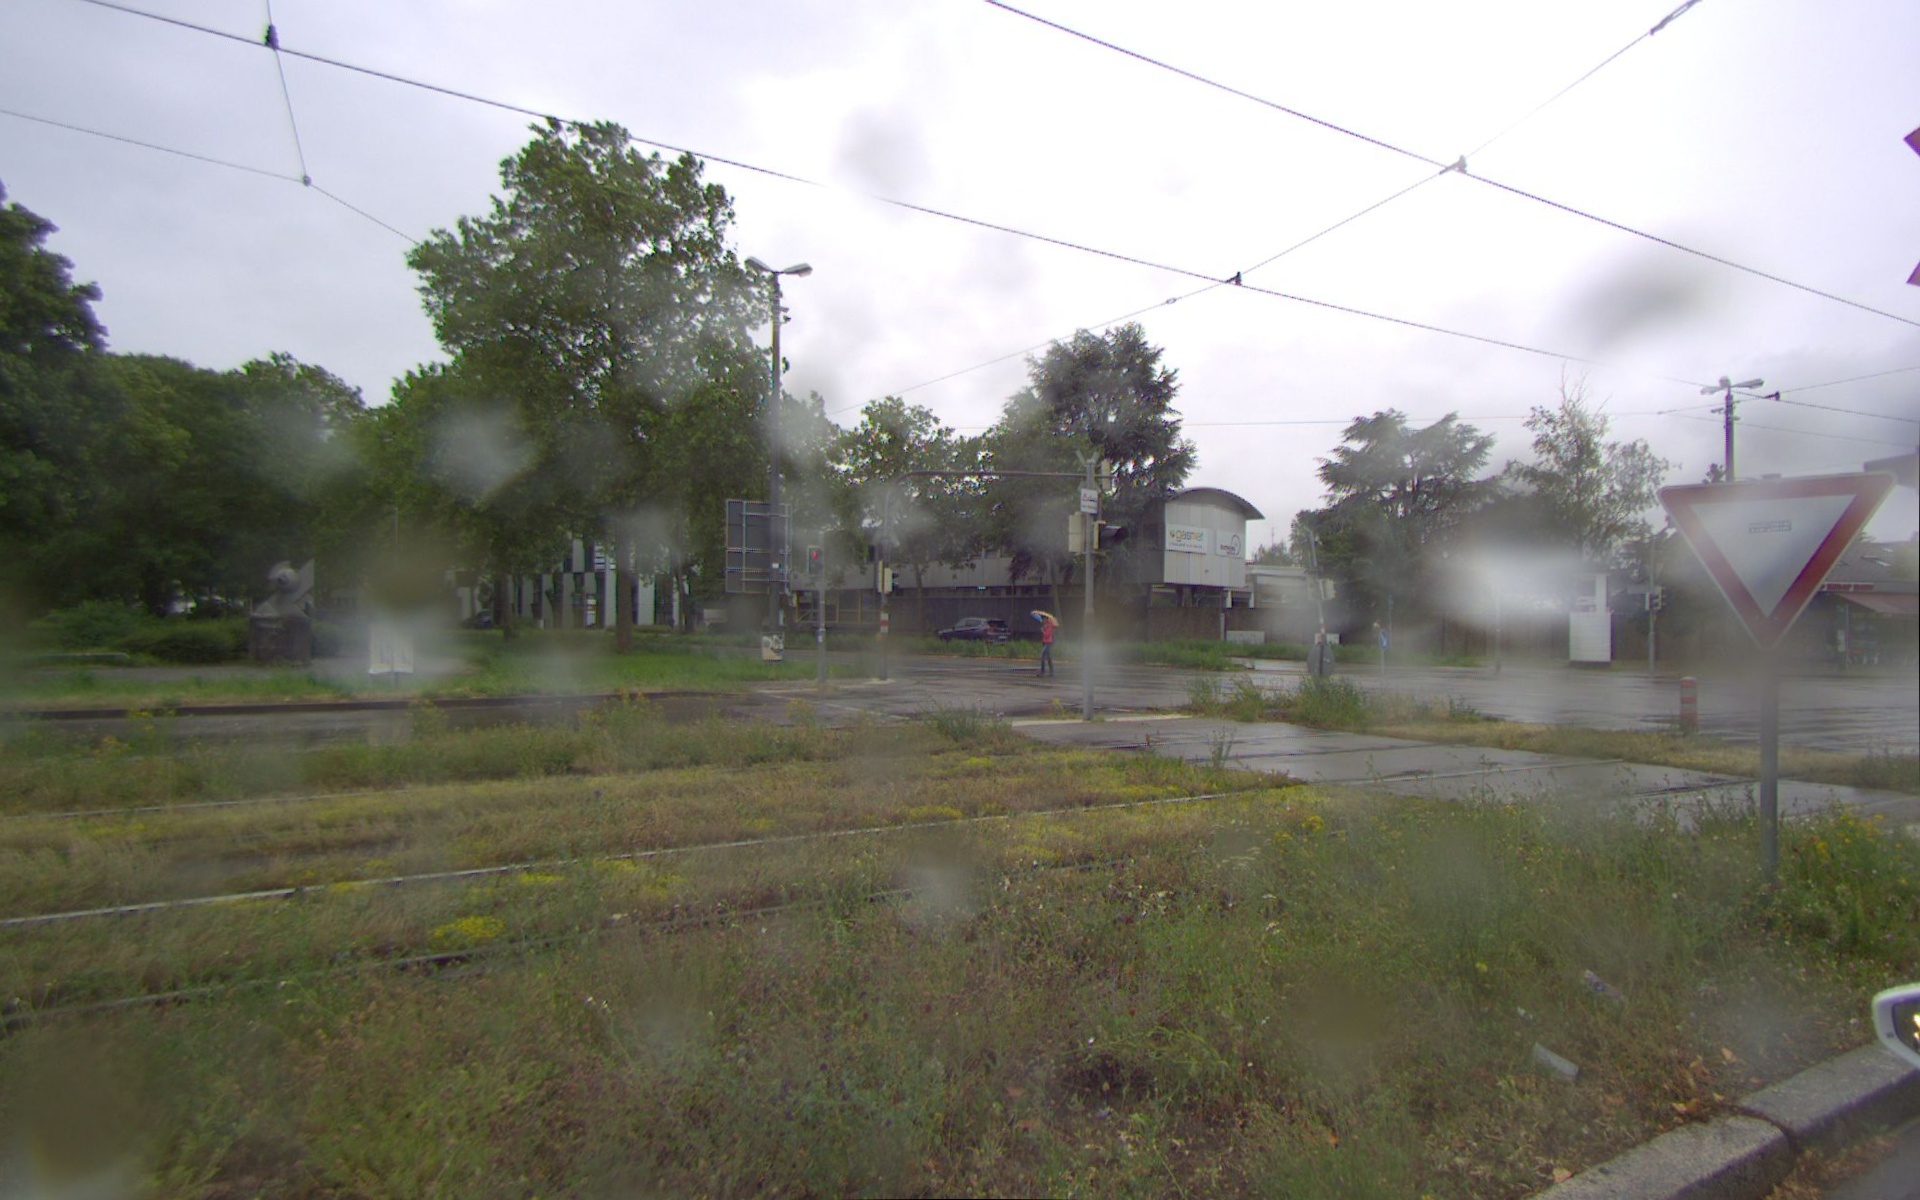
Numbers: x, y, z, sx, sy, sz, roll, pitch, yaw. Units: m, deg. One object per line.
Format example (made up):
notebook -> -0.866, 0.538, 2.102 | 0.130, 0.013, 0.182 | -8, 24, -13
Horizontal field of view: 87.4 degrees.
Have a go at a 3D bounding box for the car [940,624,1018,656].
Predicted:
car -> 0.918, 1.967, 50.454 | 1.679, 1.417, 4.087 | 2, 0, -39

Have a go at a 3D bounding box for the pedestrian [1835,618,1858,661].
pedestrian -> 43.059, 1.892, 48.799 | 0.714, 2.040, 0.791 | 2, 0, 38

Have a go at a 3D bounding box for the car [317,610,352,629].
car -> -75.202, 2.362, 120.797 | 3.932, 2.116, 2.123 | 2, 0, 33

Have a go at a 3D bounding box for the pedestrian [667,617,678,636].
pedestrian -> -25.602, 2.333, 89.381 | 0.668, 1.690, 0.815 | 2, 0, -42

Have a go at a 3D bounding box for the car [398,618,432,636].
car -> -59.783, 2.984, 110.236 | 3.940, 1.806, 1.990 | 2, 0, 41

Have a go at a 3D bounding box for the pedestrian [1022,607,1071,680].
pedestrian -> 2.483, 1.233, 28.876 | 0.998, 2.017, 0.945 | 2, 0, -34

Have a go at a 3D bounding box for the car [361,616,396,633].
car -> -65.903, 2.756, 113.858 | 3.934, 1.806, 1.993 | 2, 0, 36

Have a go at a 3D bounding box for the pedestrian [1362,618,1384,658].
pedestrian -> 19.506, 1.803, 47.426 | 0.870, 1.821, 0.726 | 2, 1, 26
